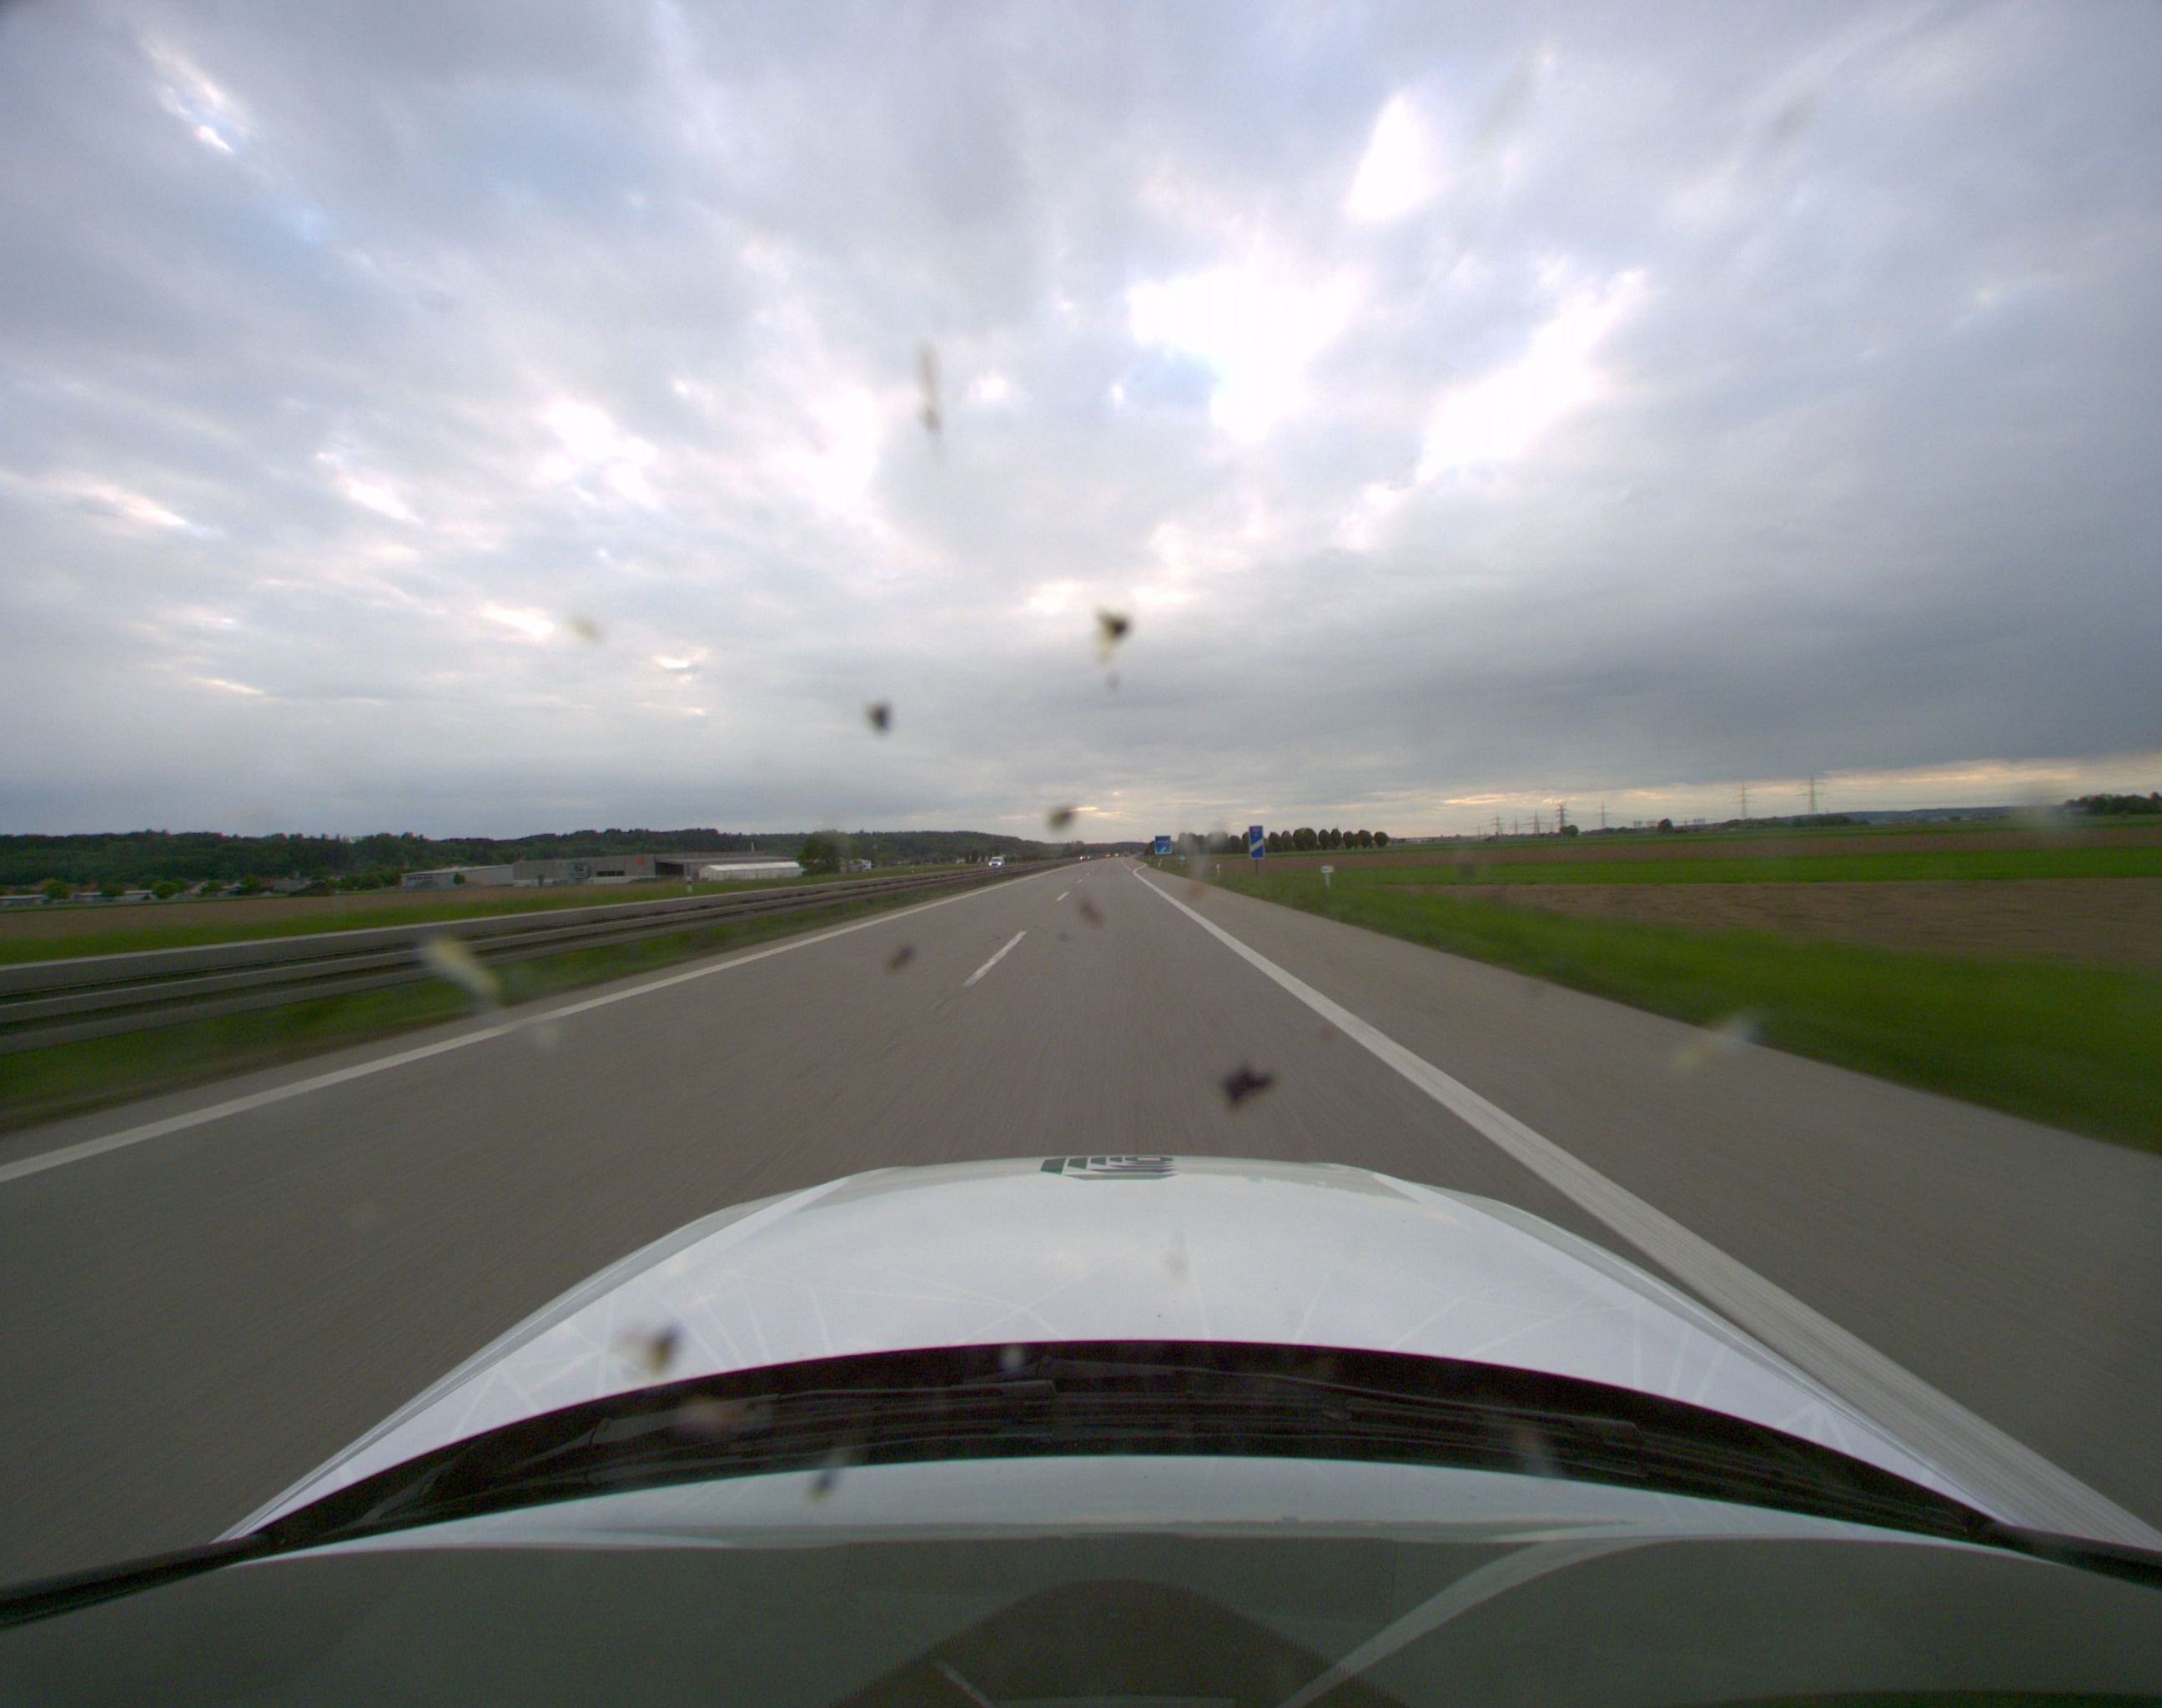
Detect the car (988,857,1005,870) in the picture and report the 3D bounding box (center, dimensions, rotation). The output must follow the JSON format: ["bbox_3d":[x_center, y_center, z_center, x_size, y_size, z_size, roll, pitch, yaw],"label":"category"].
[{"bbox_3d":[-12.593,1.411,121.637,1.986,1.765,4.953,0,0,1],"label":"car"}]
